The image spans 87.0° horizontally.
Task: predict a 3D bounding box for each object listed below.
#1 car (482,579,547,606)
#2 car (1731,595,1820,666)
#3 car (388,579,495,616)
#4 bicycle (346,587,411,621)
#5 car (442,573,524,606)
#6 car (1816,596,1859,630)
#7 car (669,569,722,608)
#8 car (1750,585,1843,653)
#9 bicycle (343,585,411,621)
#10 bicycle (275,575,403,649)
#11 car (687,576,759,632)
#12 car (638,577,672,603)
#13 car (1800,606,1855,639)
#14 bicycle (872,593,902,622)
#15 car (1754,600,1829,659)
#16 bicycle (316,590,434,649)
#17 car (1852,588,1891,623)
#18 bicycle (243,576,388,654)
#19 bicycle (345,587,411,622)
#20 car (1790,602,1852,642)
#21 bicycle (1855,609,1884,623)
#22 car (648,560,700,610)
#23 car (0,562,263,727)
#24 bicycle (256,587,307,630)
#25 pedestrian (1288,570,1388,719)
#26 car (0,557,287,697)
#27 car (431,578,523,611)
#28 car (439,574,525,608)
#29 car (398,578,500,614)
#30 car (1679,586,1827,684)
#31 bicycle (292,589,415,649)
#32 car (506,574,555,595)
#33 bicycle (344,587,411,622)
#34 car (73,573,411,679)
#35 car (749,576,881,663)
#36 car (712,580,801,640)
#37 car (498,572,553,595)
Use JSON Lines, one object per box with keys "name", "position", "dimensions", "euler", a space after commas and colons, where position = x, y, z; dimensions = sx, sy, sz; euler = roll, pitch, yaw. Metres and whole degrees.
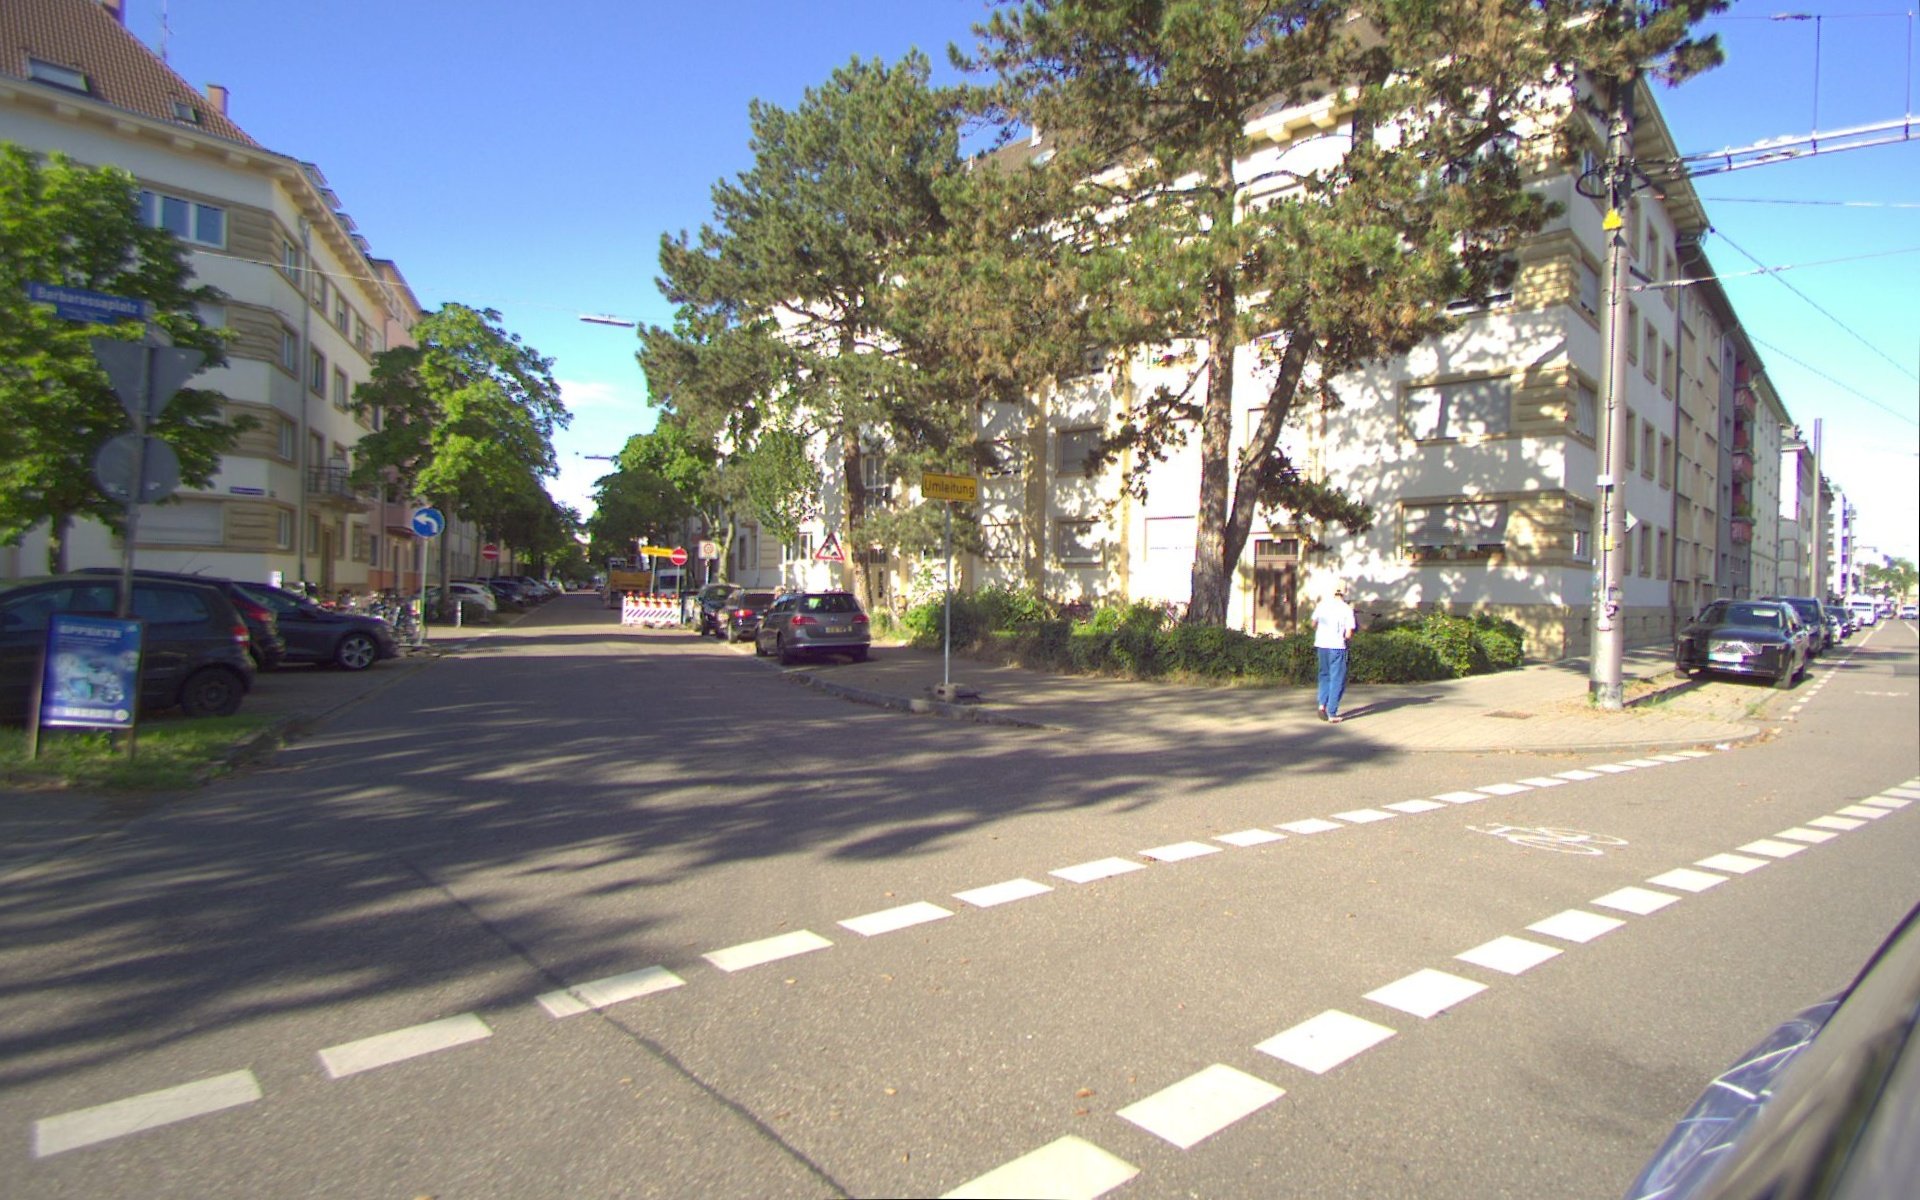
{"name": "car", "position": [-30.429, -0.505, 69.266], "dimensions": [3.916, 1.728, 2.004], "euler": [0, -1, -19]}
{"name": "car", "position": [20.951, 0.716, 25.945], "dimensions": [1.593, 1.598, 3.838], "euler": [4, 3, 41]}
{"name": "car", "position": [-22.437, -0.103, 43.928], "dimensions": [3.916, 1.572, 1.821], "euler": [0, -1, -19]}
{"name": "bicycle", "position": [-21.085, 0.160, 36.711], "dimensions": [2.020, 1.204, 0.597], "euler": [0, -2, -30]}
{"name": "car", "position": [-26.141, -0.566, 55.596], "dimensions": [3.916, 1.728, 2.004], "euler": [0, -1, -19]}
{"name": "car", "position": [47.348, 0.697, 54.611], "dimensions": [1.635, 1.667, 4.308], "euler": [5, 3, 41]}
{"name": "car", "position": [-12.078, -0.470, 46.009], "dimensions": [1.762, 1.632, 4.006], "euler": [0, -1, -23]}
{"name": "car", "position": [27.223, 0.560, 32.862], "dimensions": [1.914, 1.922, 5.055], "euler": [6, 4, 43]}
{"name": "bicycle", "position": [-19.981, 0.115, 34.727], "dimensions": [2.020, 1.204, 0.597], "euler": [0, -2, -30]}
{"name": "bicycle", "position": [-12.793, 0.242, 20.874], "dimensions": [2.293, 1.477, 0.560], "euler": [-1, -2, 1]}
{"name": "car", "position": [-8.005, 0.114, 33.999], "dimensions": [1.732, 1.733, 3.920], "euler": [2, 0, -22]}
{"name": "car", "position": [-20.434, -0.628, 67.769], "dimensions": [1.762, 1.632, 4.006], "euler": [0, -1, -23]}
{"name": "car", "position": [40.020, 0.999, 46.640], "dimensions": [1.703, 1.291, 4.237], "euler": [6, 4, 42]}
{"name": "bicycle", "position": [-2.938, 0.280, 40.561], "dimensions": [1.383, 1.126, 0.385], "euler": [2, 1, 44]}
{"name": "car", "position": [23.896, 0.778, 29.035], "dimensions": [1.509, 1.496, 4.175], "euler": [3, 2, 41]}
{"name": "bicycle", "position": [-12.779, 0.427, 22.138], "dimensions": [2.294, 1.233, 0.554], "euler": [-1, -2, 3]}
{"name": "car", "position": [76.364, 0.440, 84.764], "dimensions": [2.151, 2.729, 6.193], "euler": [4, 3, 43]}
{"name": "bicycle", "position": [-12.621, 0.284, 19.891], "dimensions": [2.288, 1.477, 0.756], "euler": [0, -2, -15]}
{"name": "bicycle", "position": [-20.749, 0.162, 36.124], "dimensions": [2.020, 1.204, 0.597], "euler": [0, -2, -30]}
{"name": "car", "position": [35.047, 0.857, 41.173], "dimensions": [1.636, 1.471, 3.729], "euler": [5, 3, 44]}
{"name": "bicycle", "position": [72.820, 1.286, 81.008], "dimensions": [0.477, 1.101, 2.027], "euler": [-1, -1, 1]}
{"name": "car", "position": [-15.601, -0.751, 55.003], "dimensions": [2.082, 2.474, 5.327], "euler": [0, -1, -23]}
{"name": "car", "position": [-9.448, 0.393, 10.109], "dimensions": [1.629, 1.513, 3.765], "euler": [2, 1, 32]}
{"name": "bicycle", "position": [-19.627, 0.258, 29.251], "dimensions": [2.049, 1.204, 0.589], "euler": [-2, -2, 38]}
{"name": "pedestrian", "position": [4.625, 0.514, 12.397], "dimensions": [0.712, 1.744, 0.882], "euler": [2, 0, -40]}
{"name": "car", "position": [-10.846, 0.298, 12.760], "dimensions": [3.744, 1.592, 1.454], "euler": [1, 1, -43]}
{"name": "car", "position": [-23.813, -0.278, 50.075], "dimensions": [3.916, 1.572, 2.004], "euler": [0, -1, -19]}
{"name": "car", "position": [-25.121, -0.473, 53.299], "dimensions": [3.916, 1.728, 2.004], "euler": [0, -1, -19]}
{"name": "car", "position": [-23.131, -0.182, 45.947], "dimensions": [3.916, 1.572, 1.821], "euler": [0, -1, -19]}
{"name": "car", "position": [17.018, 0.665, 21.620], "dimensions": [1.880, 1.737, 4.854], "euler": [6, 4, 44]}
{"name": "bicycle", "position": [-12.861, 0.402, 21.498], "dimensions": [2.293, 1.243, 0.560], "euler": [-1, -2, 1]}
{"name": "car", "position": [-37.806, -1.344, 89.163], "dimensions": [3.916, 1.728, 2.004], "euler": [0, -1, -19]}
{"name": "bicycle", "position": [-20.383, 0.153, 35.468], "dimensions": [2.020, 1.204, 0.597], "euler": [0, -2, -30]}
{"name": "car", "position": [-11.450, 0.356, 16.404], "dimensions": [1.632, 1.458, 4.183], "euler": [3, 1, 38]}
{"name": "car", "position": [-3.158, 0.317, 21.281], "dimensions": [1.733, 1.519, 4.315], "euler": [-2, 3, -22]}
{"name": "car", "position": [-5.849, 0.232, 28.737], "dimensions": [1.732, 1.488, 3.921], "euler": [2, 2, -22]}
{"name": "car", "position": [-34.291, -1.270, 79.966], "dimensions": [3.916, 1.728, 2.004], "euler": [0, -1, -19]}
